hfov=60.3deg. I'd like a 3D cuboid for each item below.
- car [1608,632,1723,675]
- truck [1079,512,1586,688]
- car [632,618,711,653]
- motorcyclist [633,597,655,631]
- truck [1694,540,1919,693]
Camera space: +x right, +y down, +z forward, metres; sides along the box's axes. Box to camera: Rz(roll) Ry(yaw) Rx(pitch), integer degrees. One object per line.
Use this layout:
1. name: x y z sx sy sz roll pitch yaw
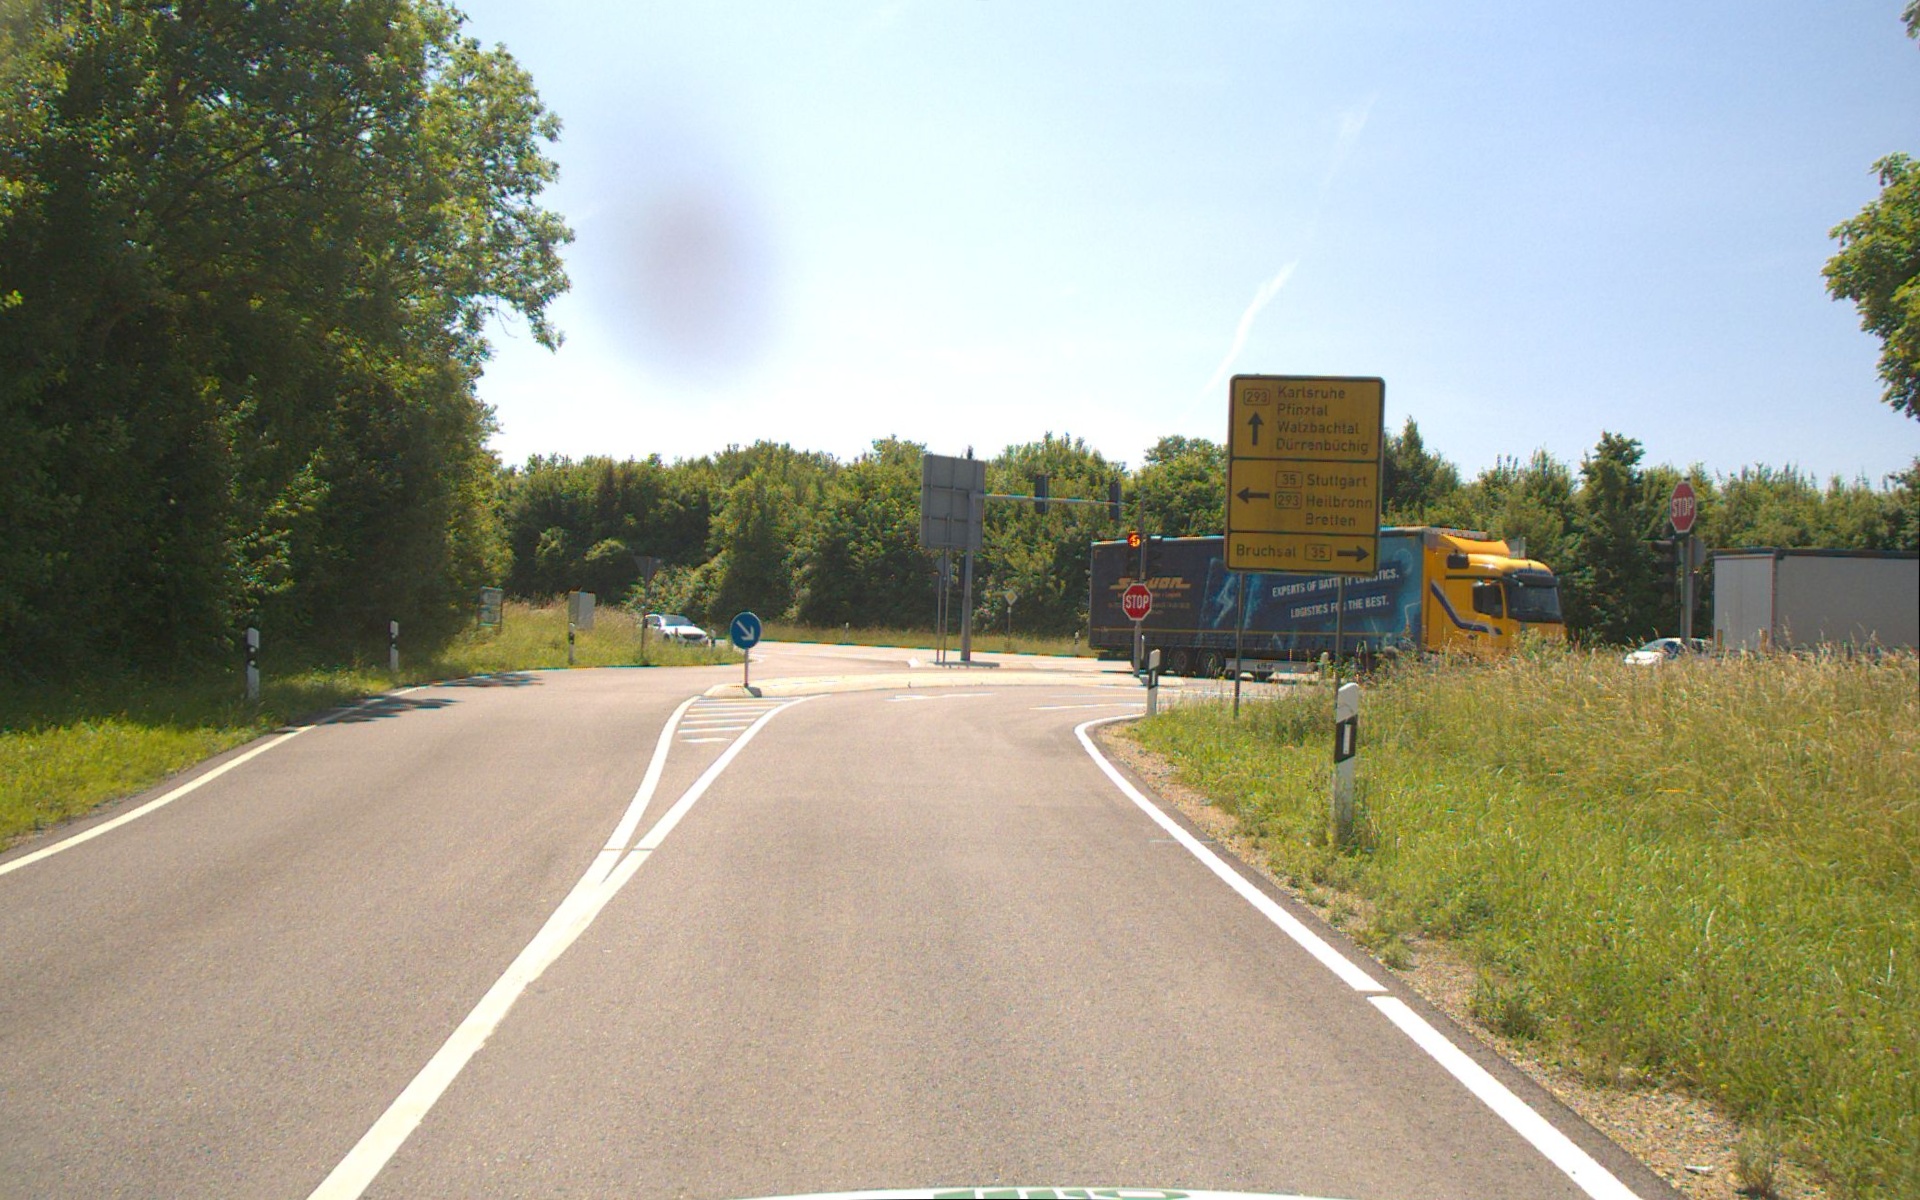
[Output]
1. car: 23.930 1.809 56.088 3.466 1.395 1.562 1 -1 -19
2. truck: 9.717 -0.012 47.202 2.819 4.204 16.606 2 -1 -35
3. car: -12.464 1.509 71.255 1.784 1.437 5.284 2 -1 -28
4. motorcyclist: -17.731 0.789 92.764 0.883 1.875 0.834 -1 -1 43
5. truck: 29.978 0.559 49.688 16.359 4.246 3.122 1 -1 -16
